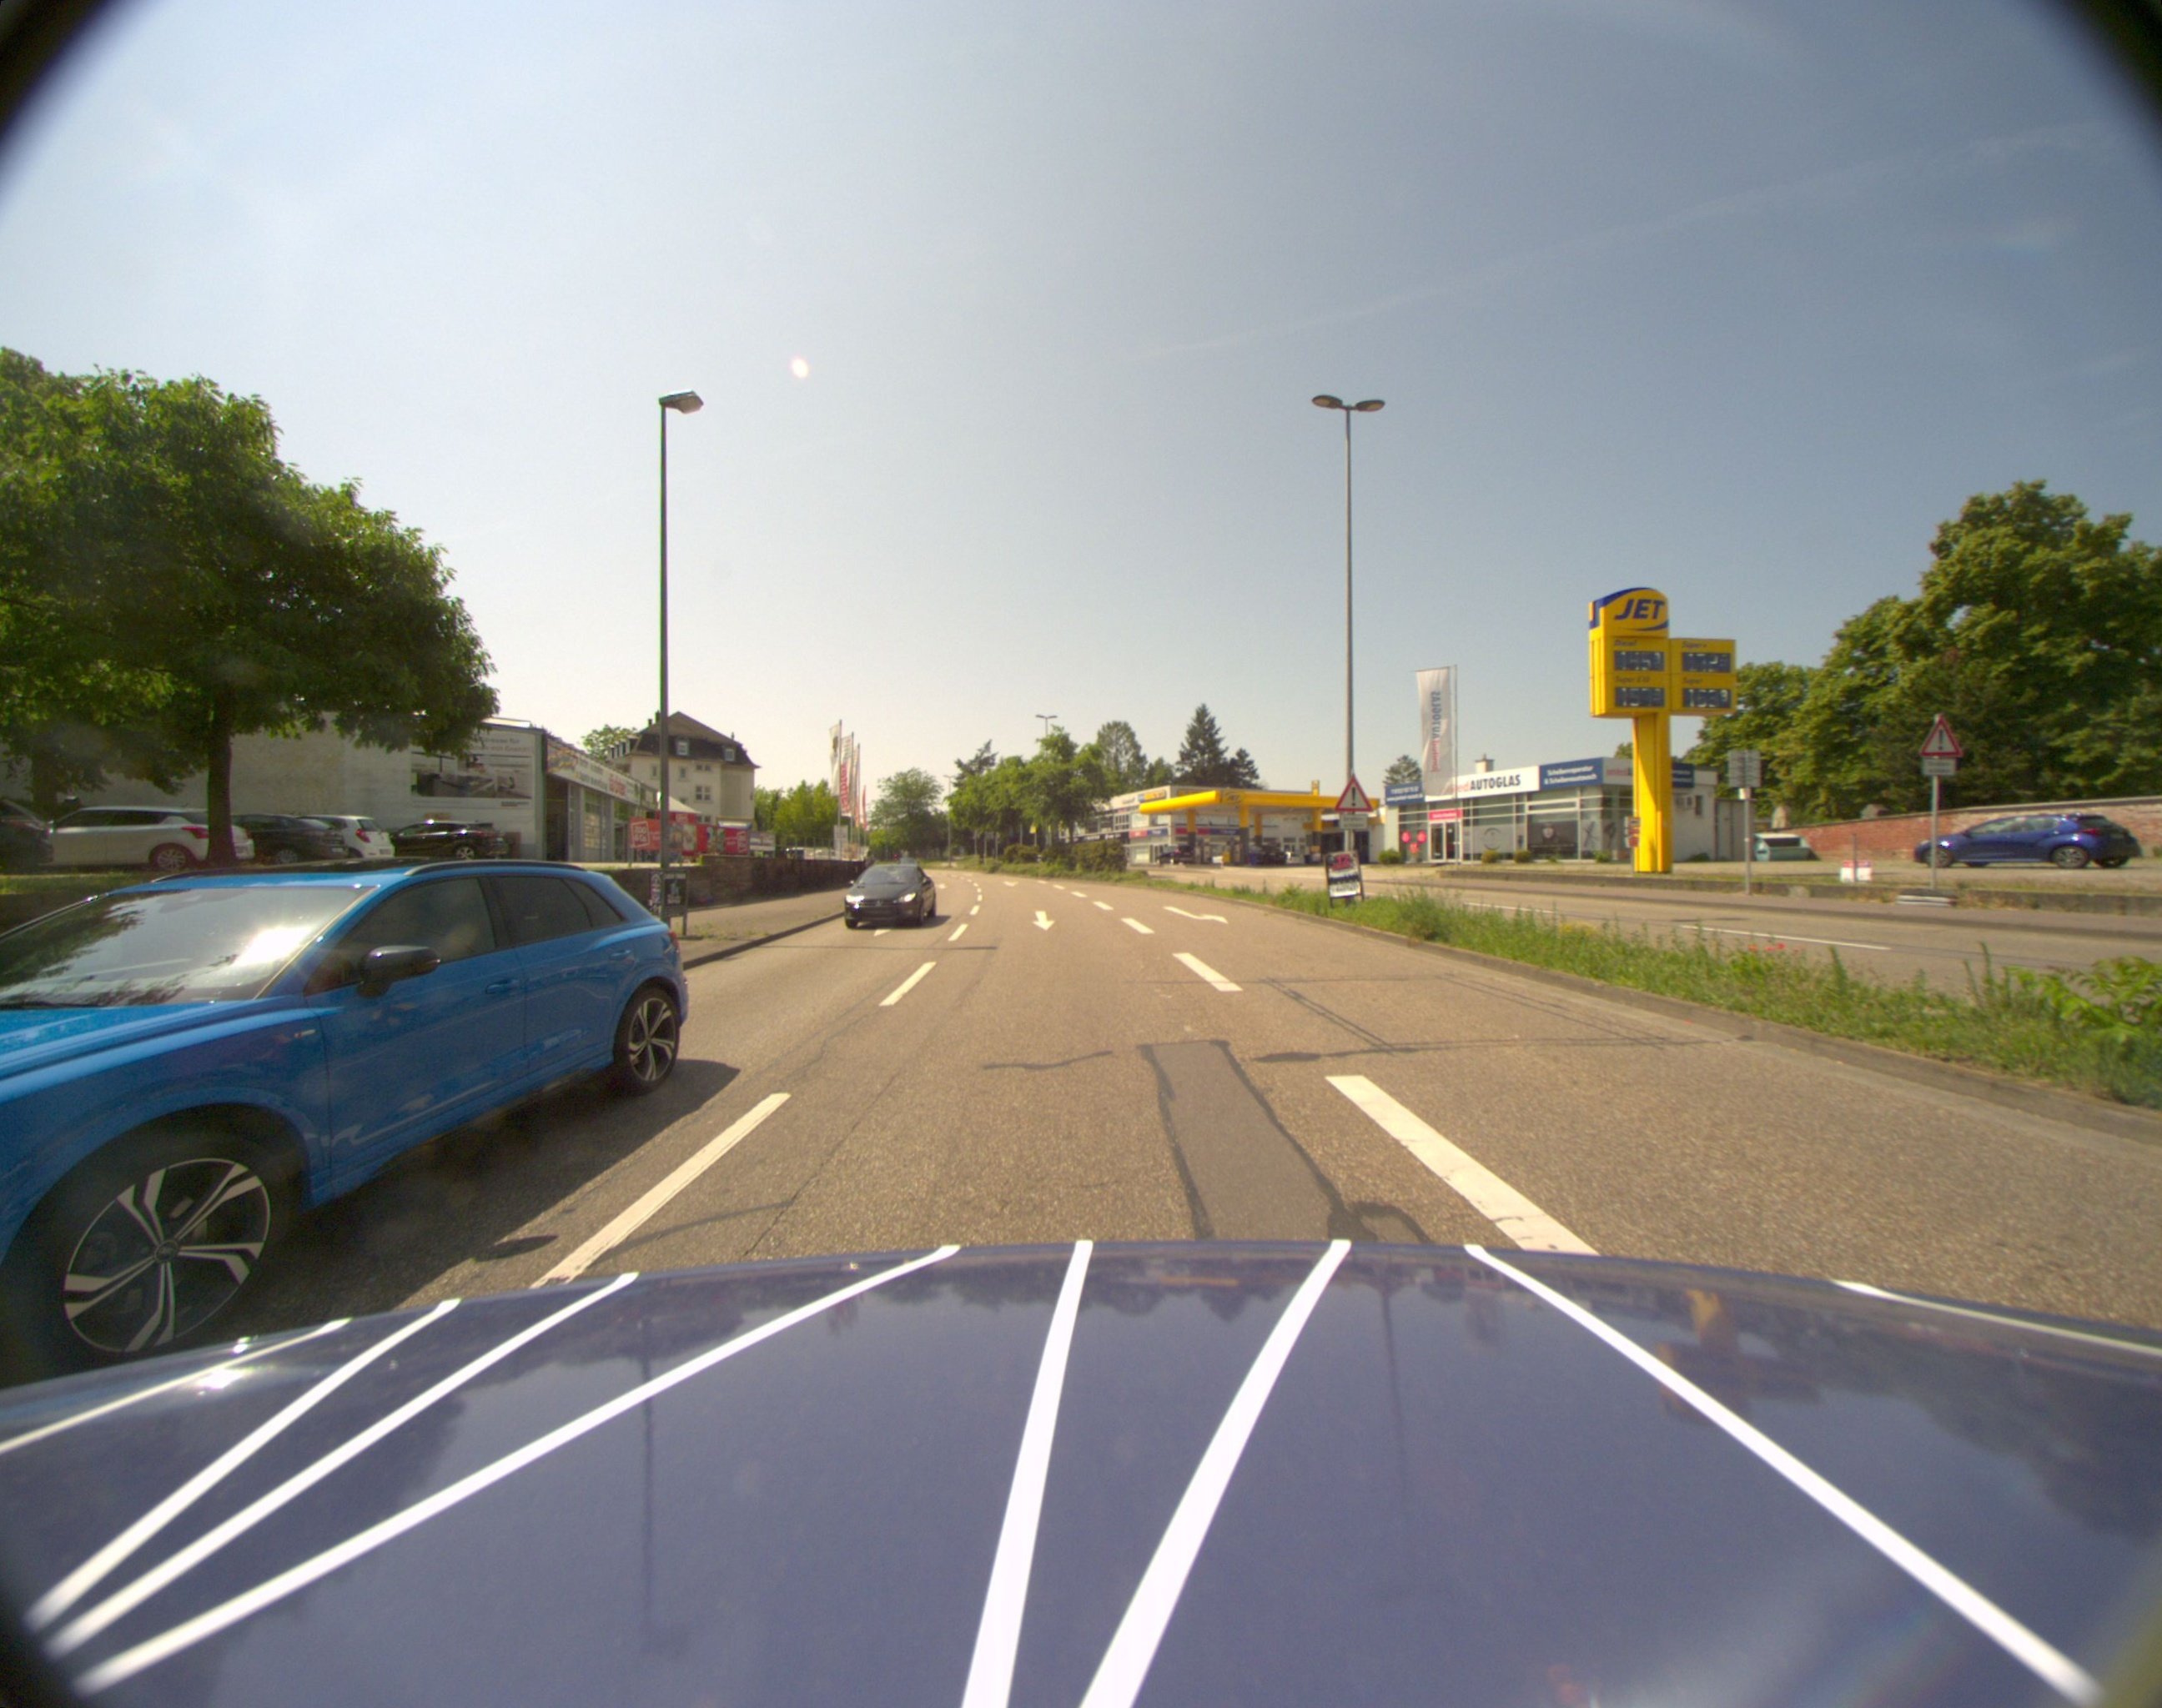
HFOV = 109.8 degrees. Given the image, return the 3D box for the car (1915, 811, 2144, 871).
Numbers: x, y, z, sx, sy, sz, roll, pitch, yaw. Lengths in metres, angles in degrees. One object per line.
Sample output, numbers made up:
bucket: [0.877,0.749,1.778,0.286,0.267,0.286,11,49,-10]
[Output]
car: [26.297,-0.349,21.257,1.695,1.497,3.626,-1,1,-13]

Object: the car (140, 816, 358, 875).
car: [-21.059,-0.223,19.397,3.323,1.377,1.656,-1,1,-18]

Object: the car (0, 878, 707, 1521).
car: [-3.802,0.976,3.538,1.918,1.587,4.395,-1,0,0]

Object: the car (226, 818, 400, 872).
car: [-21.896,-0.270,21.793,3.156,1.463,1.501,-1,1,-15]

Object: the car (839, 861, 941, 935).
car: [-4.316,0.936,17.666,1.604,1.417,3.659,-2,1,-3]

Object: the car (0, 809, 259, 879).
car: [-20.766,-0.232,16.692,3.293,1.403,1.528,-1,1,-18]

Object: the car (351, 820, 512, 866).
car: [-23.145,-0.406,27.265,4.003,1.531,1.735,-1,1,-19]

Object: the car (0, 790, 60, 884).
car: [-18.485,-0.197,11.121,1.995,1.475,3.855,-2,1,26]

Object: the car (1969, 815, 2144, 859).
car: [35.745,-0.607,27.975,1.621,1.497,3.626,-1,1,-13]

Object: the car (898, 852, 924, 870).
car: [-15.453,0.618,68.957,1.700,1.366,3.991,0,3,-21]

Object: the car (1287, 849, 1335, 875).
car: [19.035,0.629,63.098,2.001,2.002,3.994,-2,1,-15]

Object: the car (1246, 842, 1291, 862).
car: [15.351,-0.150,62.418,1.657,1.534,4.208,-2,1,-15]
